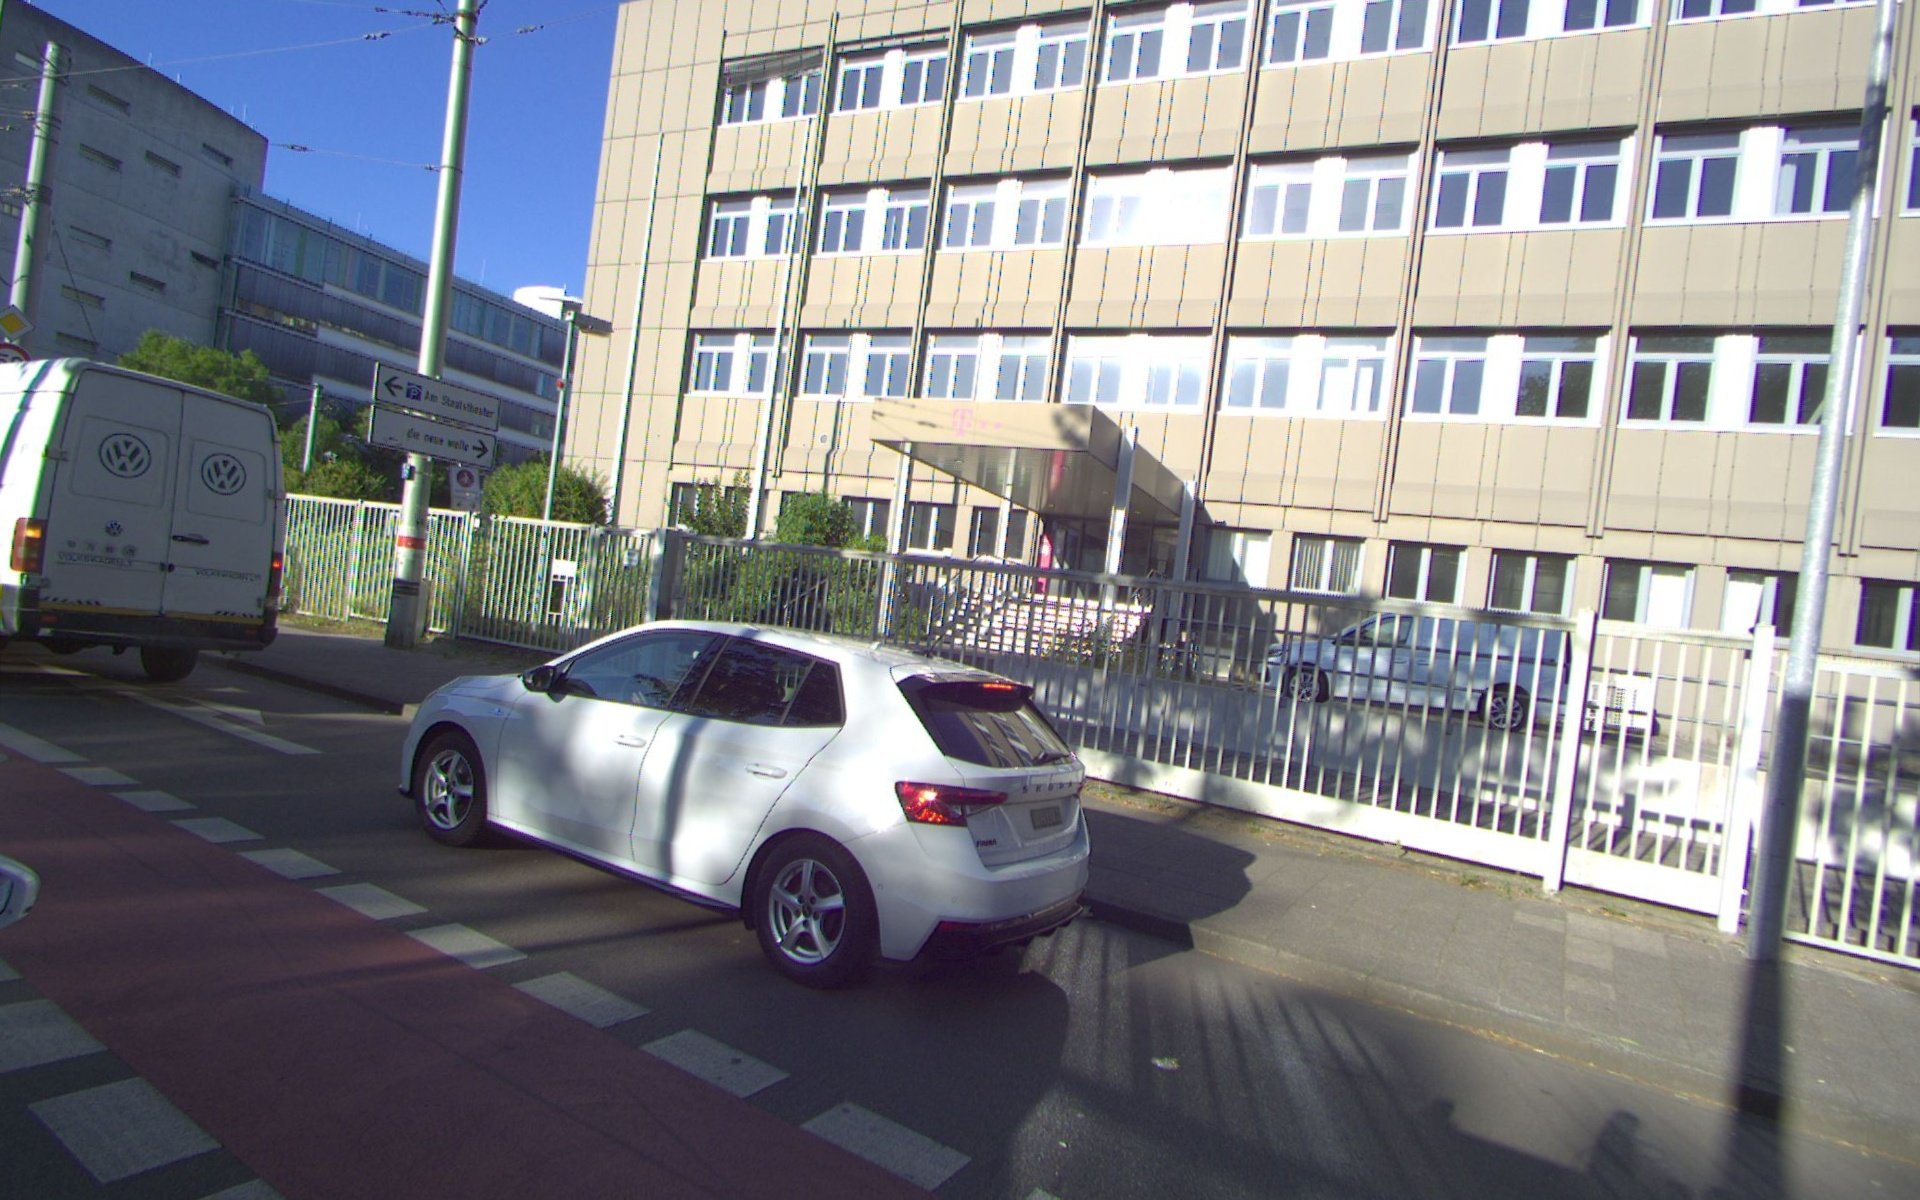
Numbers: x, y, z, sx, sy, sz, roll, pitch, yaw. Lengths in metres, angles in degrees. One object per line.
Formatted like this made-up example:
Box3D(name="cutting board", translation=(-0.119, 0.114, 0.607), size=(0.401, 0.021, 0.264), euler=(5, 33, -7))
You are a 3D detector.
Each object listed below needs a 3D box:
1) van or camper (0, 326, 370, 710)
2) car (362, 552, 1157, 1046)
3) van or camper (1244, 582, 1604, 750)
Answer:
Box3D(name="van or camper", translation=(-8.911, -0.837, 9.648), size=(6.234, 2.763, 2.277), euler=(7, -3, 26))
Box3D(name="car", translation=(-1.181, 0.772, 5.486), size=(3.914, 1.518, 1.806), euler=(7, -1, 31))
Box3D(name="van or camper", translation=(7.448, 1.008, 16.599), size=(4.910, 1.932, 1.985), euler=(7, 0, 25))
